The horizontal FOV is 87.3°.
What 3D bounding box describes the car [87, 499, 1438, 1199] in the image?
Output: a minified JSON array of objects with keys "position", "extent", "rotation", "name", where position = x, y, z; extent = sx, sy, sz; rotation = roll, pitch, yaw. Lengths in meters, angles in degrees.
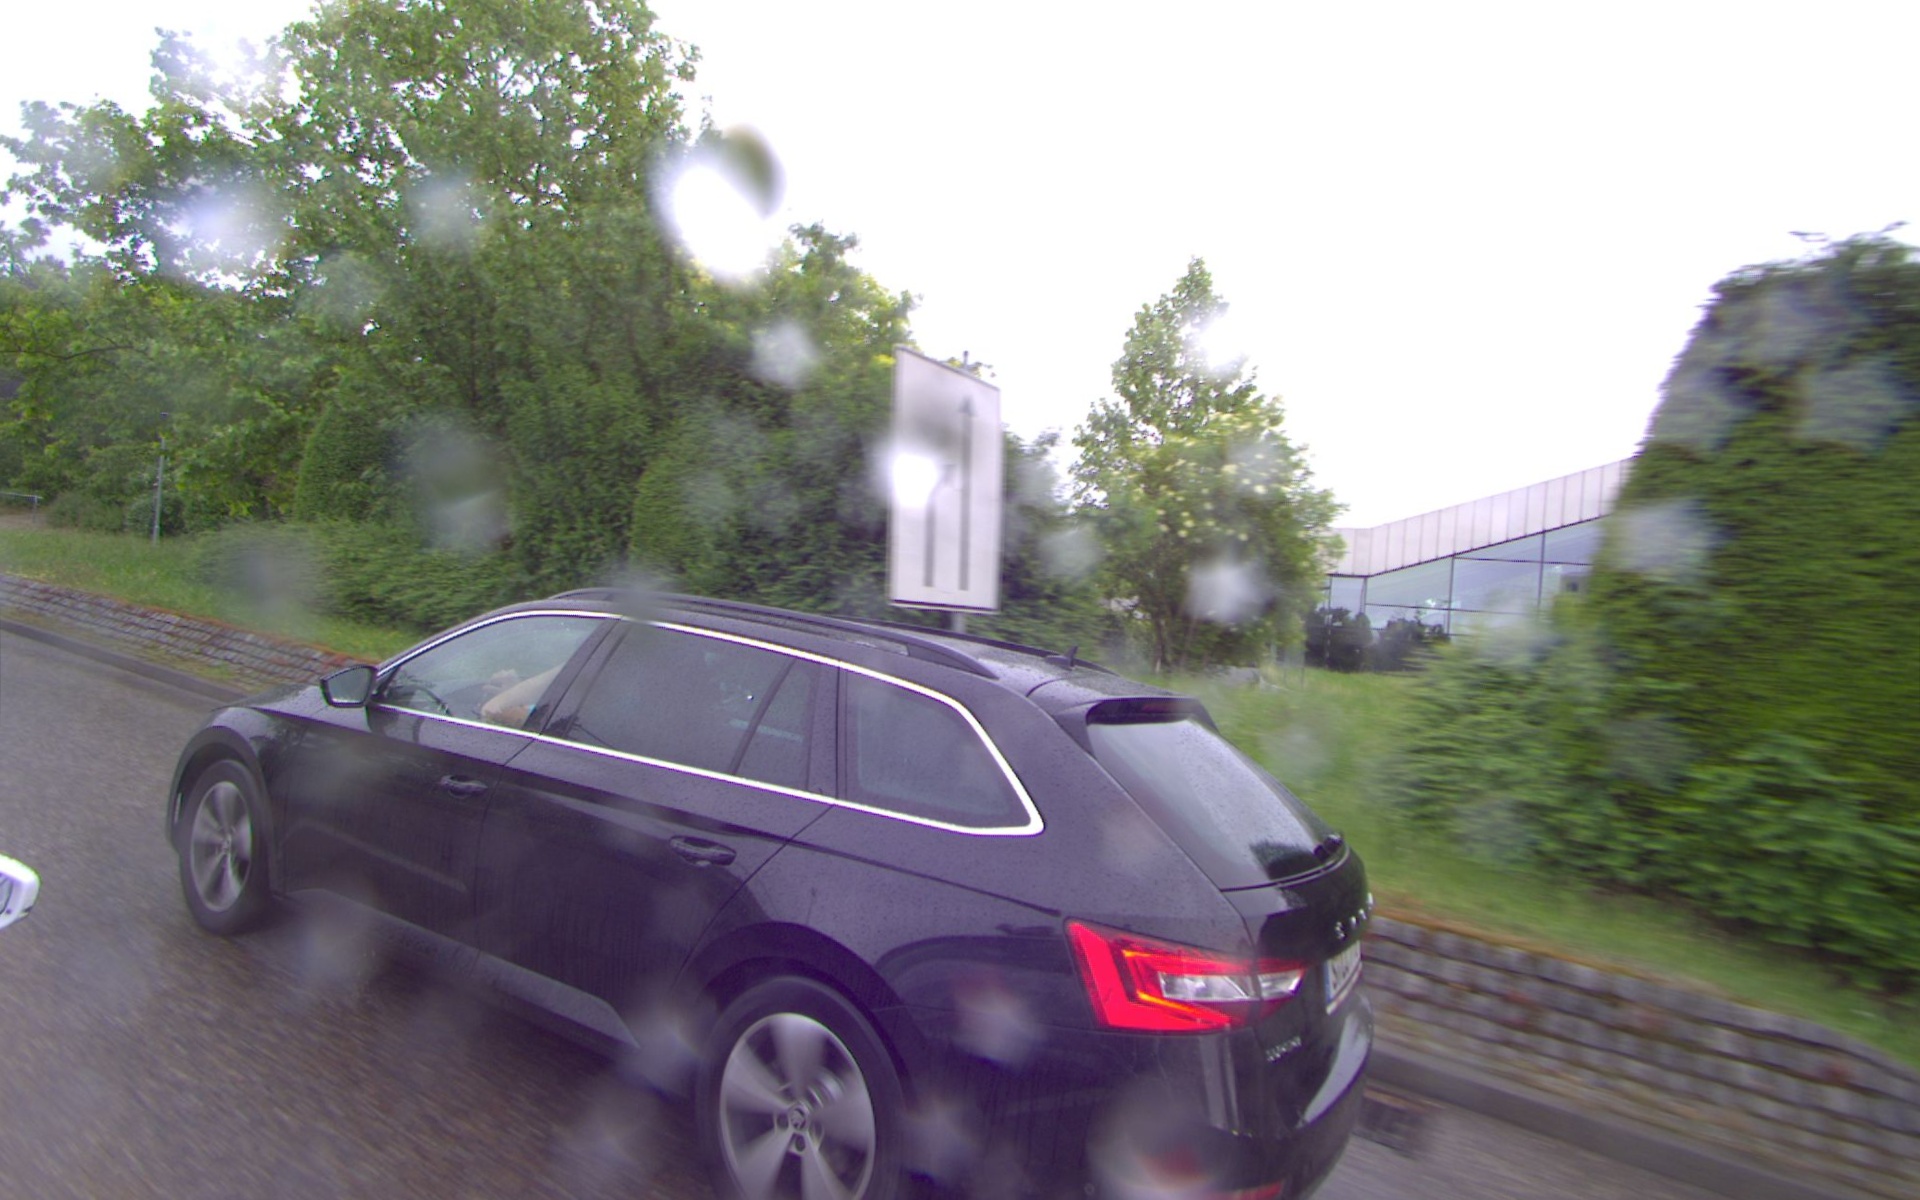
[{"position":[-0.897,0.665,3.667],"extent":[4.531,1.524,1.960],"rotation":[6,-3,30],"name":"car"}]
